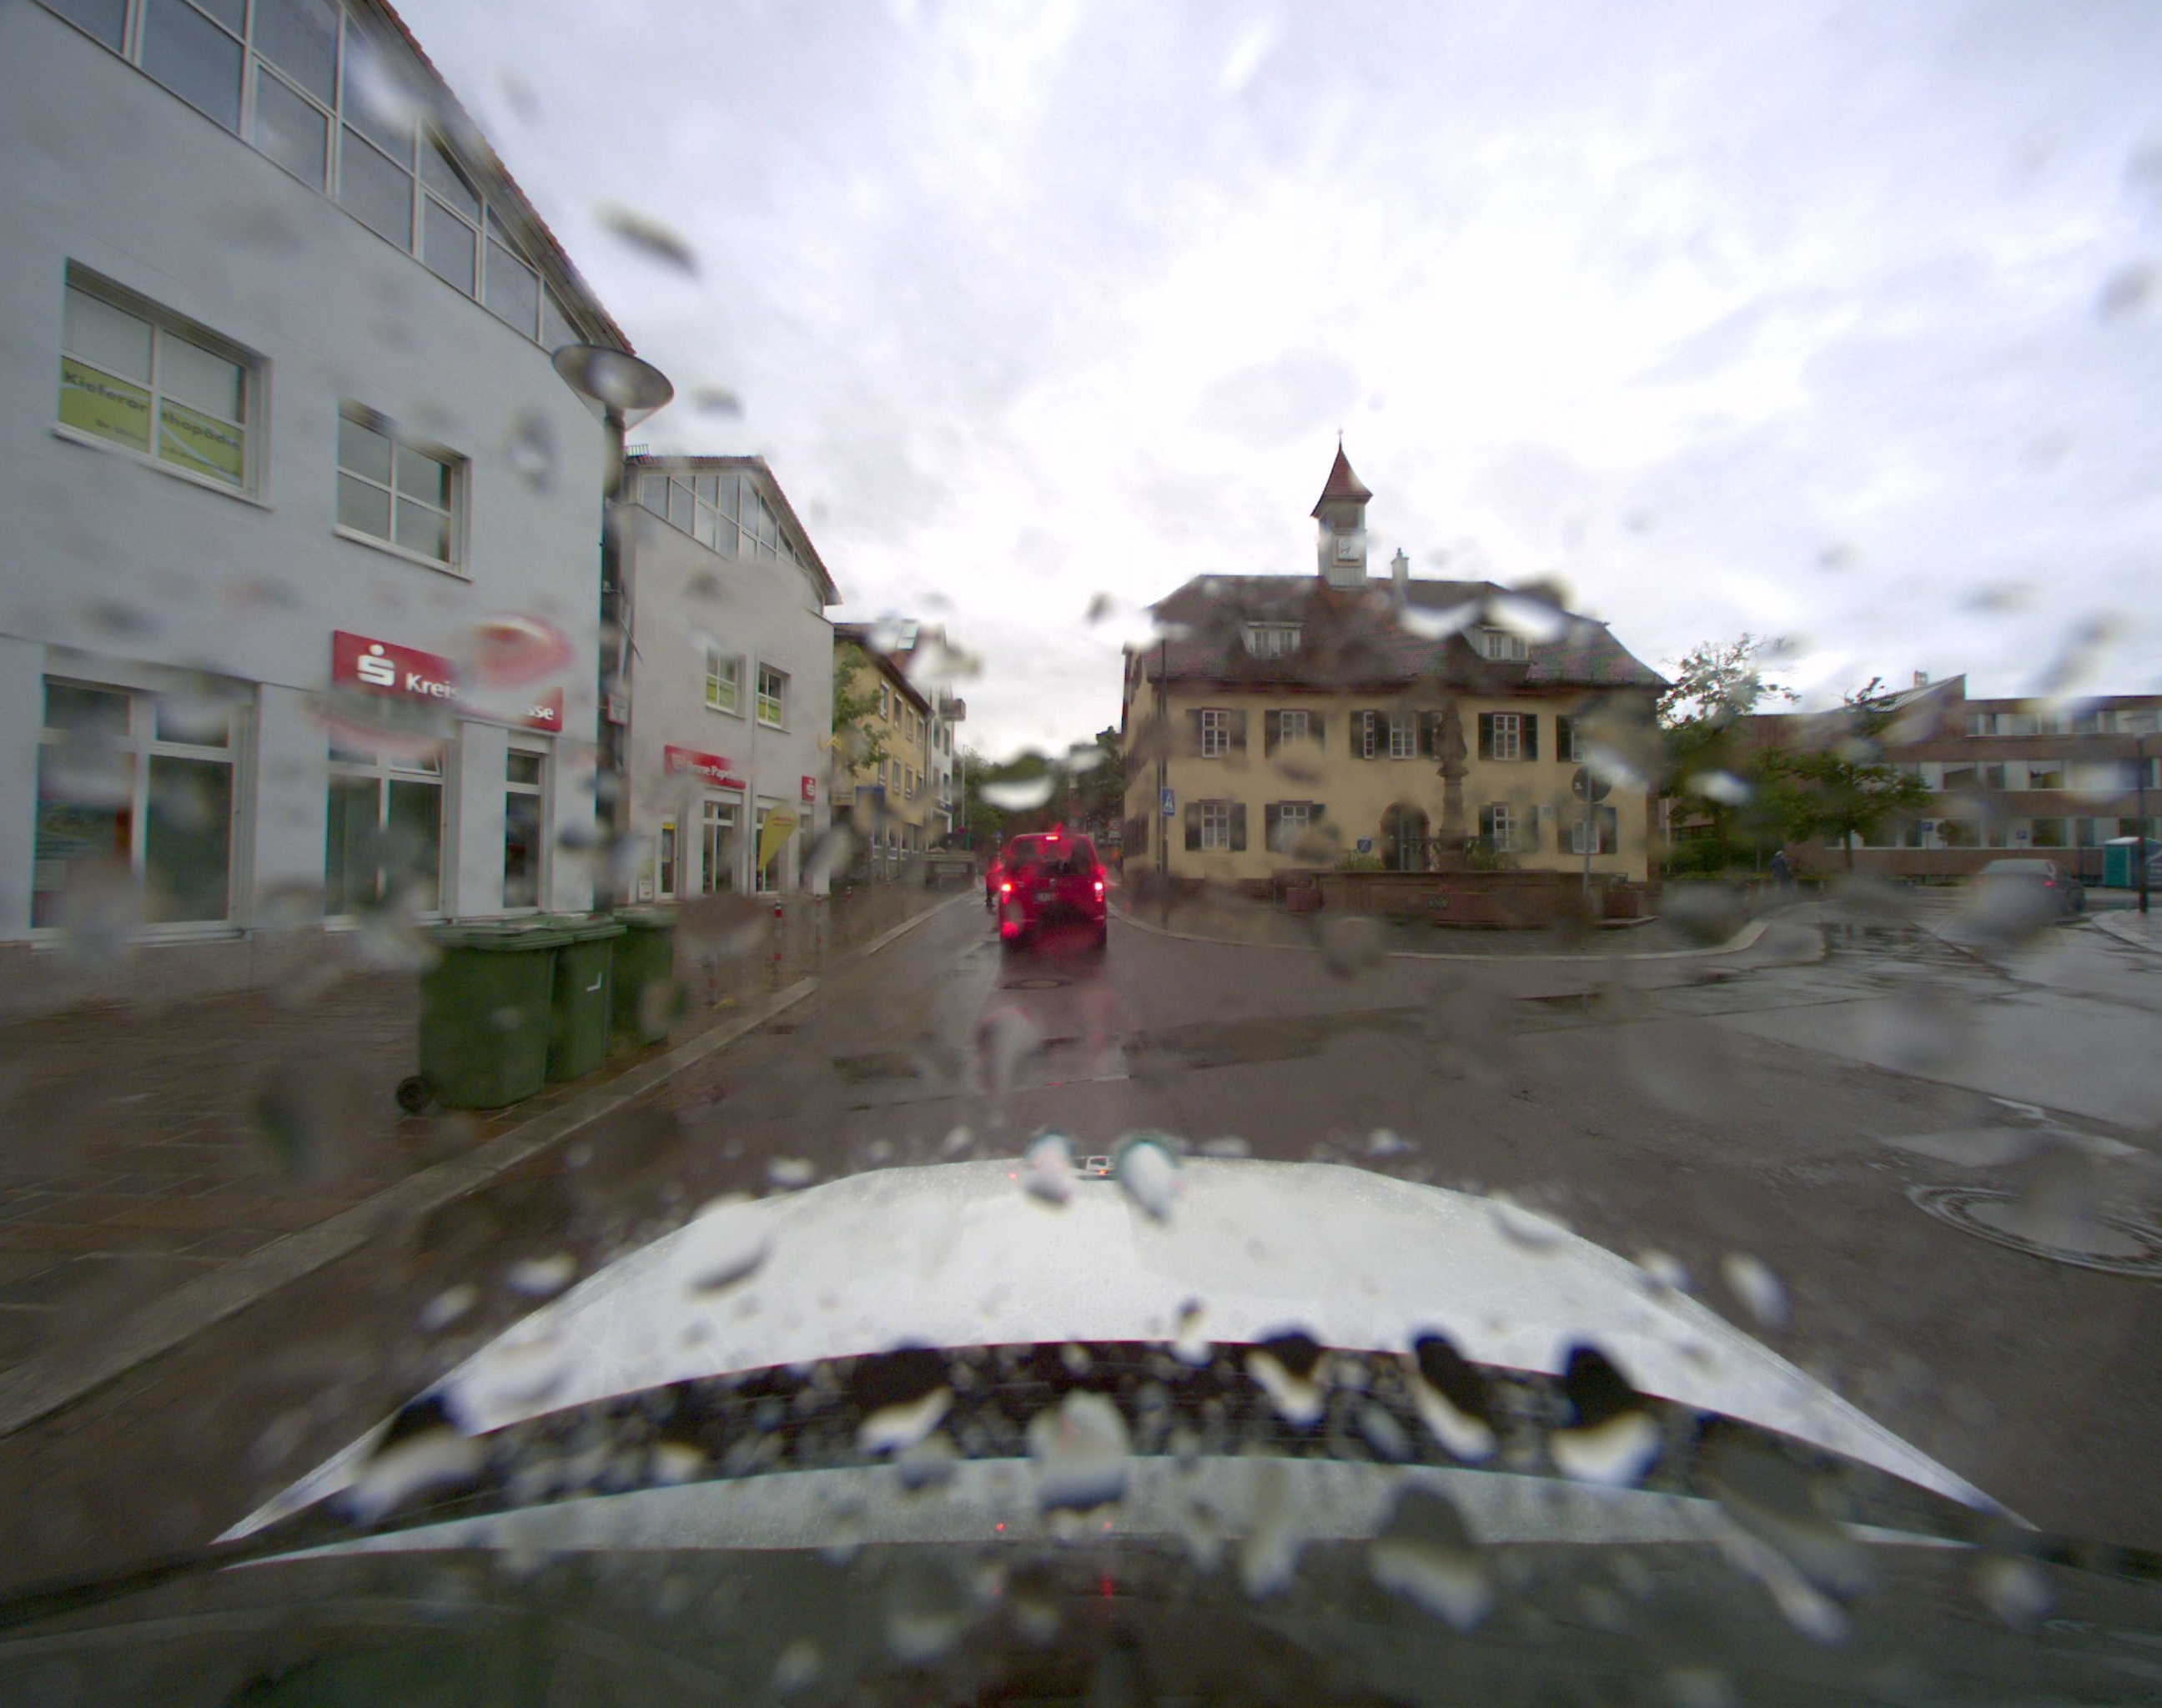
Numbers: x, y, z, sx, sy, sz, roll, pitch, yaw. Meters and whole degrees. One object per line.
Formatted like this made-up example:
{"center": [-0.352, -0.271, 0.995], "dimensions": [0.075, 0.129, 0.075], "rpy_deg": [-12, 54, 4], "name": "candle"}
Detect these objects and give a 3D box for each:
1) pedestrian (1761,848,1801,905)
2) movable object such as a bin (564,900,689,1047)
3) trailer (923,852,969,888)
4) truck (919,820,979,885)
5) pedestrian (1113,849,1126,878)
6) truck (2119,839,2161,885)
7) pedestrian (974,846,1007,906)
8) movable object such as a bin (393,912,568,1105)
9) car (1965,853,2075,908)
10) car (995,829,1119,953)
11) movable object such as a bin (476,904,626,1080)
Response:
{"center": [23.101, 0.735, 26.877], "dimensions": [0.688, 1.822, 0.785], "rpy_deg": [0, -1, -29], "name": "pedestrian"}
{"center": [-3.653, 0.940, 6.586], "dimensions": [0.656, 1.096, 0.613], "rpy_deg": [-1, -1, 0], "name": "movable object such as a bin"}
{"center": [-5.525, 0.640, 33.546], "dimensions": [1.726, 1.346, 3.153], "rpy_deg": [0, 1, -7], "name": "trailer"}
{"center": [-6.089, -0.129, 38.376], "dimensions": [2.471, 2.795, 6.584], "rpy_deg": [0, 1, -7], "name": "truck"}
{"center": [2.137, 0.536, 45.357], "dimensions": [0.725, 1.617, 0.694], "rpy_deg": [-1, -1, 0], "name": "pedestrian"}
{"center": [48.487, 0.330, 35.513], "dimensions": [1.853, 2.014, 3.546], "rpy_deg": [-1, 0, -1], "name": "truck"}
{"center": [-2.559, 0.610, 23.068], "dimensions": [0.862, 1.693, 0.716], "rpy_deg": [0, 0, -1], "name": "pedestrian"}
{"center": [-3.658, 0.917, 4.999], "dimensions": [0.656, 1.082, 0.553], "rpy_deg": [-1, -1, 2], "name": "movable object such as a bin"}
{"center": [25.491, 0.678, 22.082], "dimensions": [3.622, 1.363, 1.654], "rpy_deg": [0, -1, -37], "name": "car"}
{"center": [-0.551, 0.558, 14.419], "dimensions": [1.859, 1.830, 4.177], "rpy_deg": [-1, 0, -6], "name": "car"}
{"center": [-3.627, 0.920, 5.611], "dimensions": [0.656, 1.115, 0.553], "rpy_deg": [-1, -1, 2], "name": "movable object such as a bin"}
